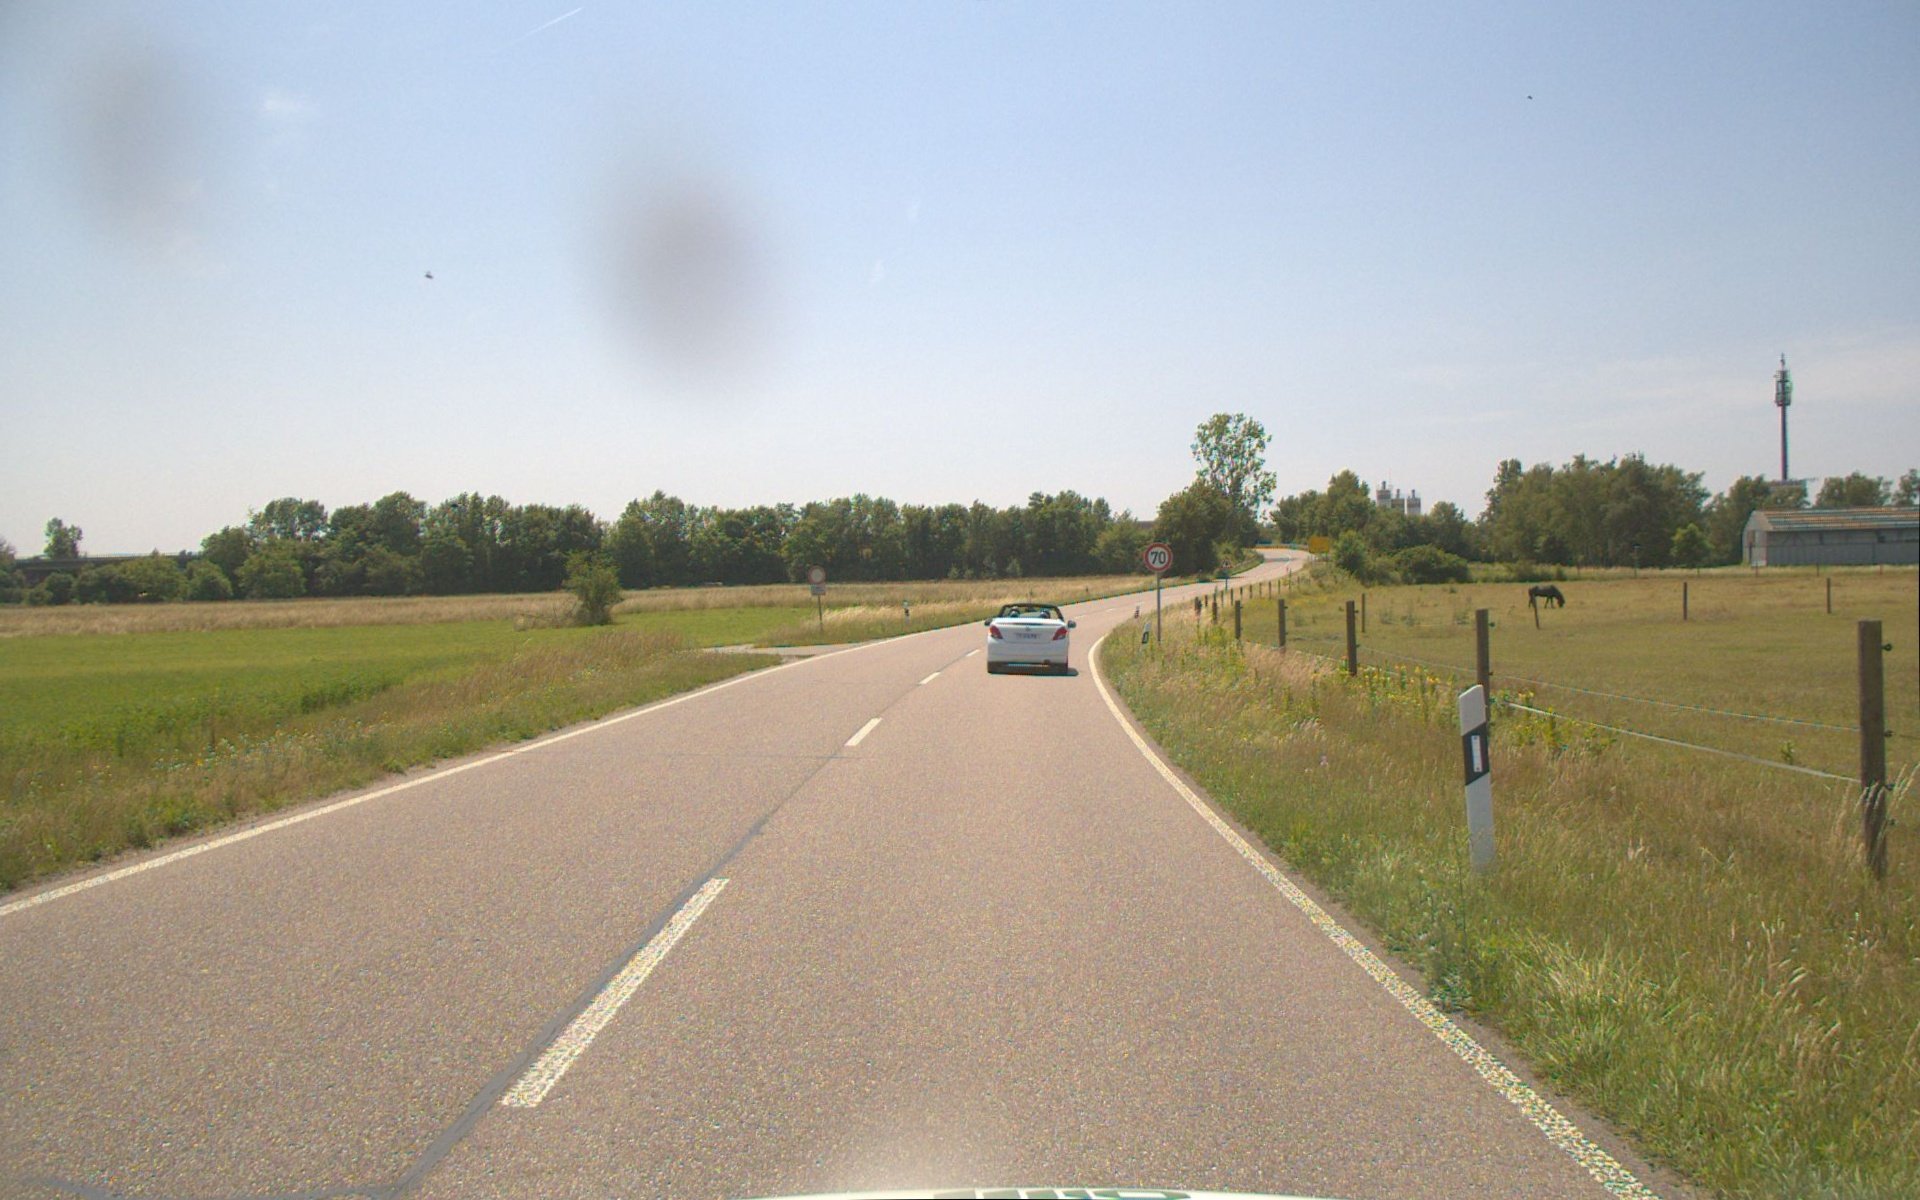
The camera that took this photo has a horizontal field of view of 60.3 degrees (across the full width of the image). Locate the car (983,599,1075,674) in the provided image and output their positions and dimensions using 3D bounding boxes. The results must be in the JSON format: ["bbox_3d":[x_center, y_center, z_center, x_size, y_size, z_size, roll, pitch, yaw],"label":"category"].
[{"bbox_3d":[1.442,0.723,34.698,1.812,1.403,4.001,1,1,2],"label":"car"}]
